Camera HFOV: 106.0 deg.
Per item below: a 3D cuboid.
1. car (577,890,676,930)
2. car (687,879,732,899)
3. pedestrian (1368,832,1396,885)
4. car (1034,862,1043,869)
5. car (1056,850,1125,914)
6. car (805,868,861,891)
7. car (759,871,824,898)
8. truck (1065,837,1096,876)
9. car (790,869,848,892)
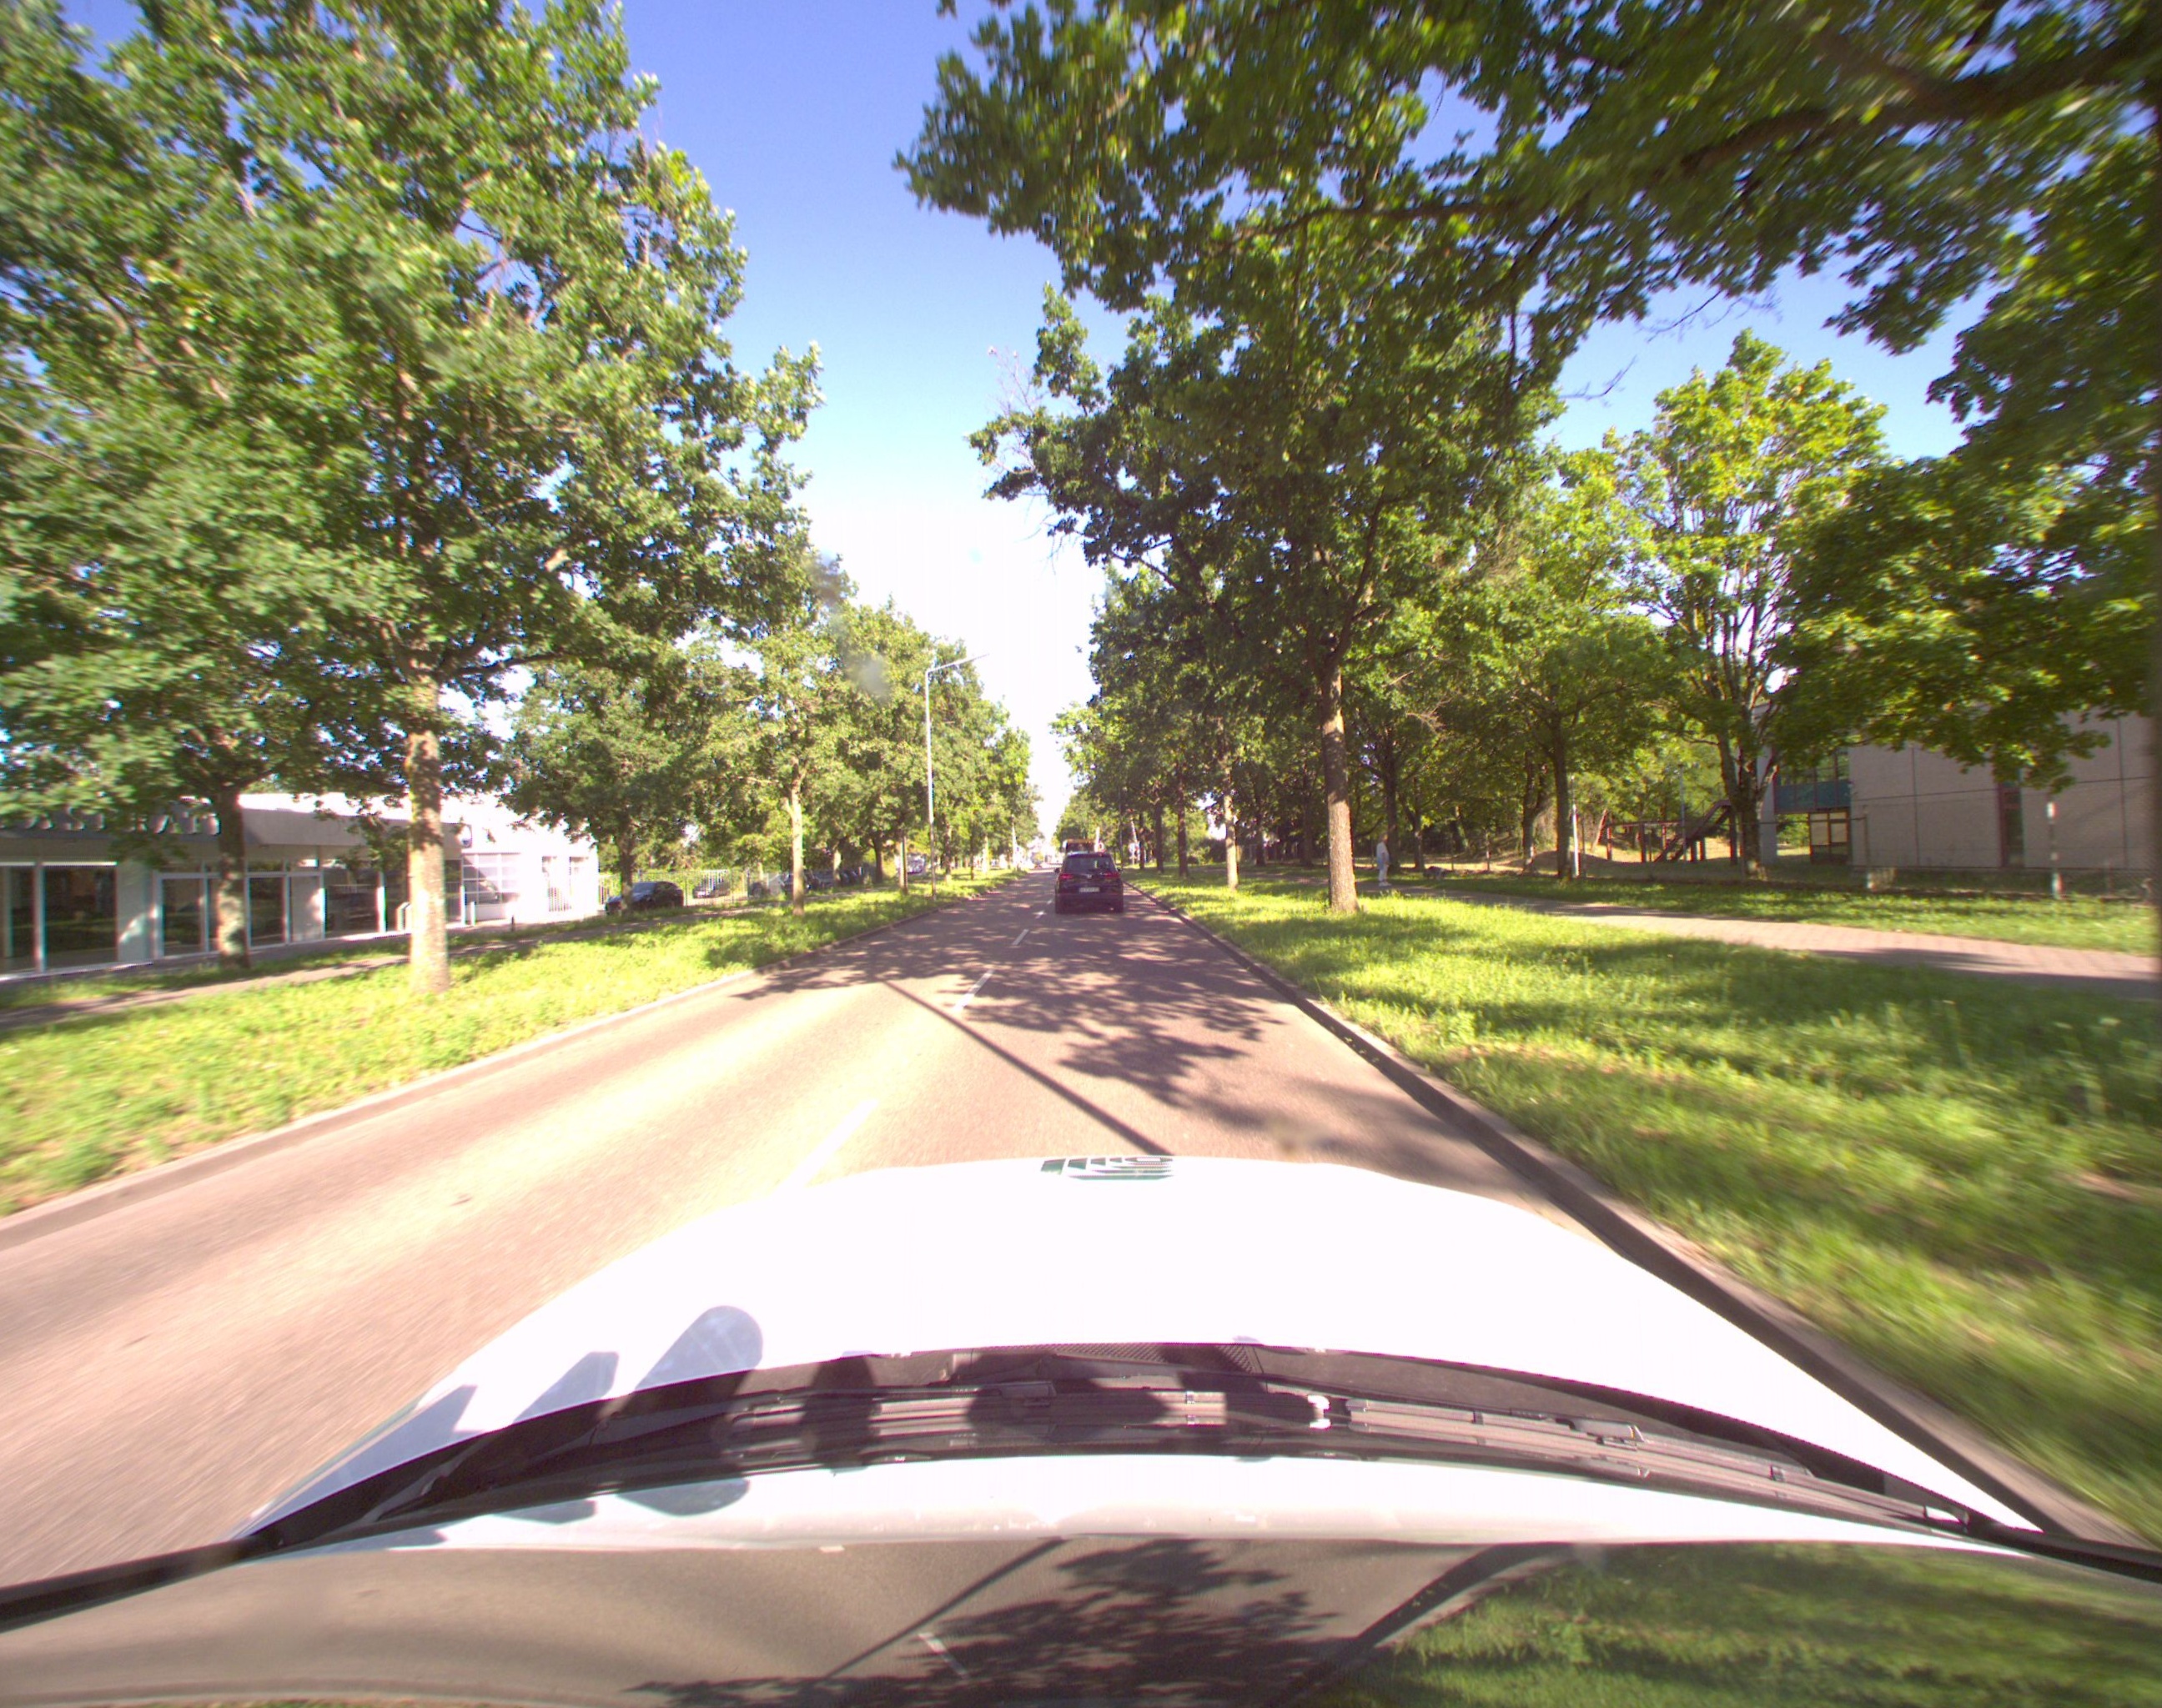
[{"bbox_3d":[-21.996,2.670,39.679,1.987,1.598,5.013,0,0,0],"label":"car"},{"bbox_3d":[-31.615,2.950,69.384,1.991,1.567,4.875,0,-1,-6],"label":"car"},{"bbox_3d":[9.717,0.138,26.308,0.711,1.631,0.613,-4,0,18],"label":"pedestrian"},{"bbox_3d":[-9.173,2.564,176.044,1.560,1.504,4.001,-1,-1,1],"label":"car"},{"bbox_3d":[0.219,0.731,22.982,1.777,1.633,3.998,0,-1,-1],"label":"car"},{"bbox_3d":[-21.076,2.160,69.381,4.183,1.802,1.996,0,-1,-5],"label":"car"},{"bbox_3d":[-20.839,2.175,58.757,3.983,1.802,1.995,0,-1,-7],"label":"car"},{"bbox_3d":[-0.120,0.274,74.143,2.505,3.243,8.147,-2,0,-1],"label":"truck"},{"bbox_3d":[-21.357,2.160,66.523,4.183,1.802,1.996,0,-1,-5],"label":"car"}]
